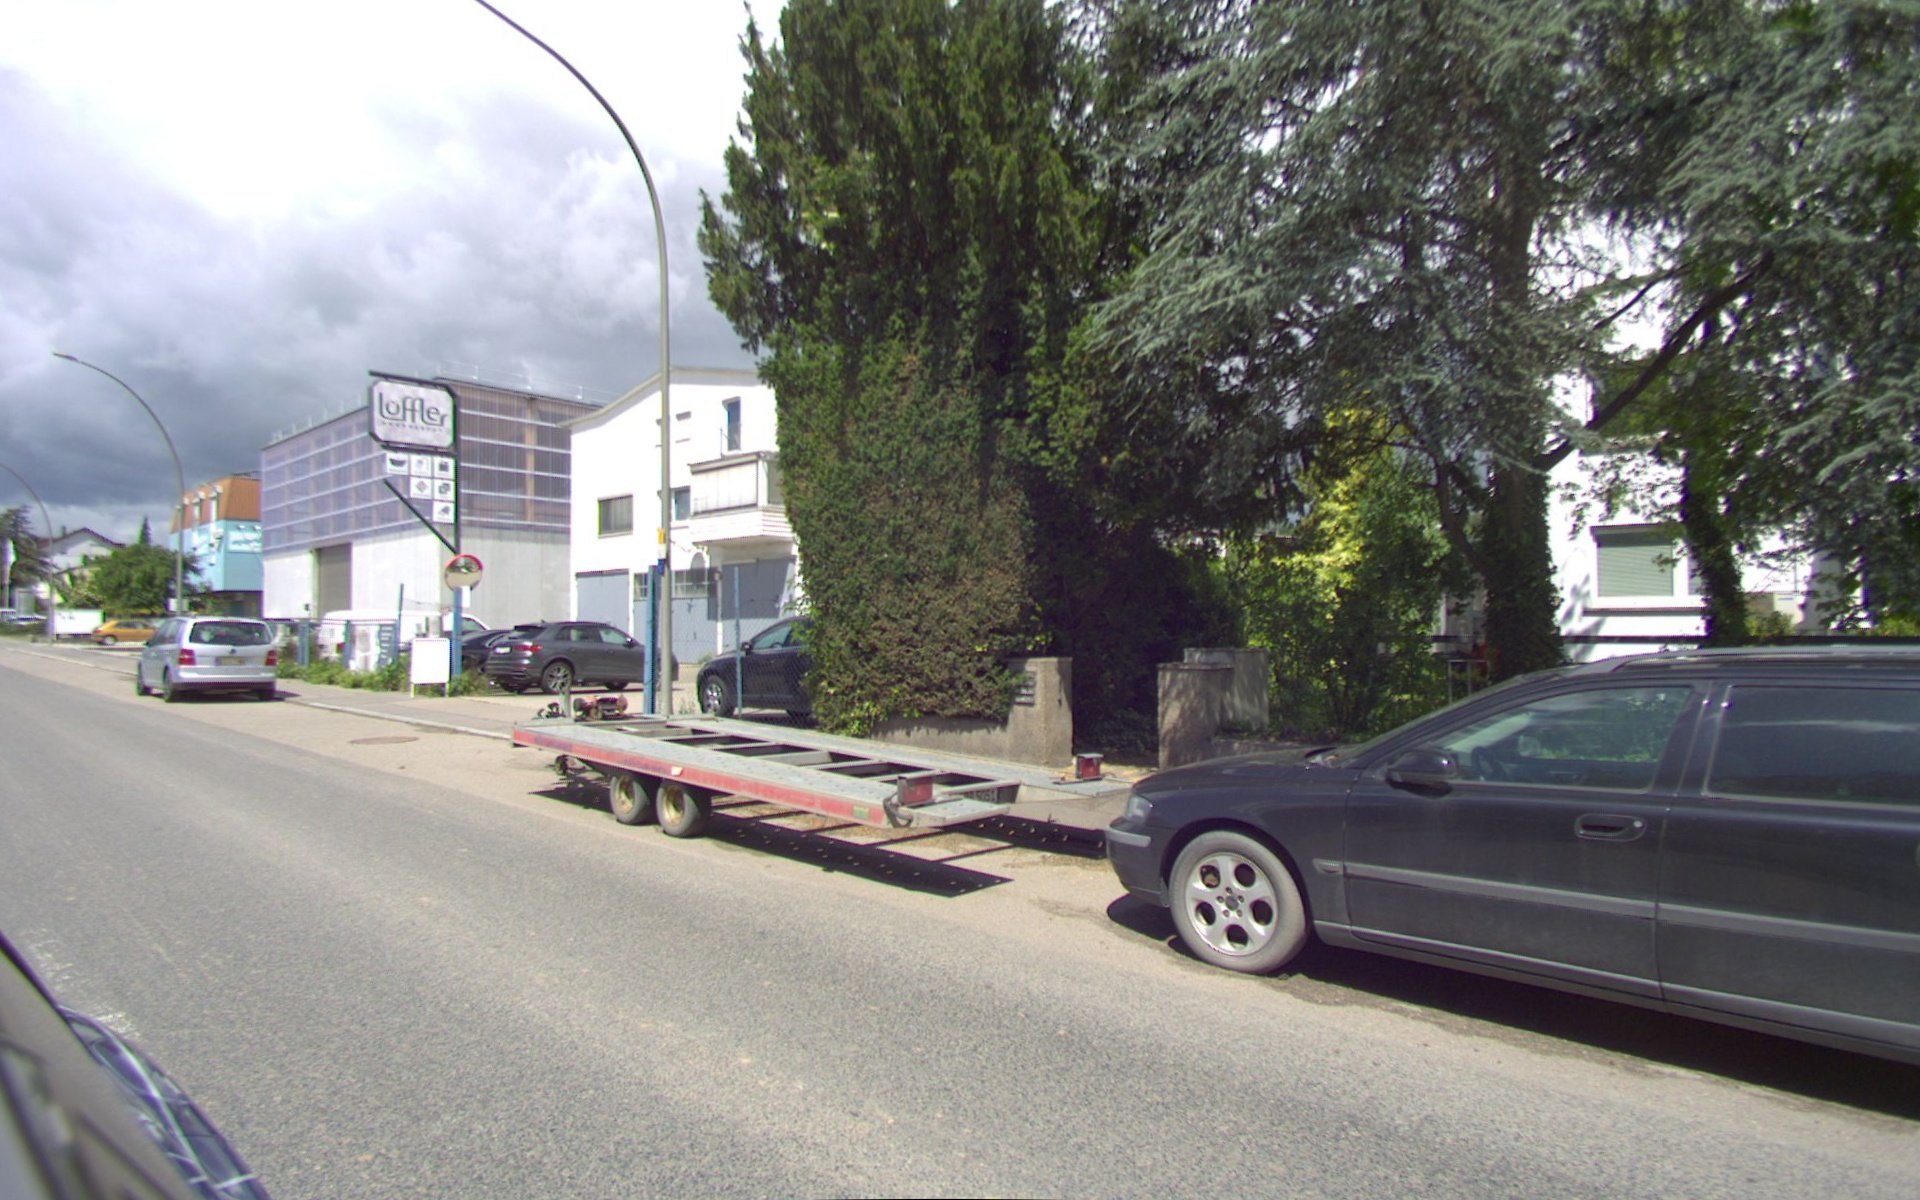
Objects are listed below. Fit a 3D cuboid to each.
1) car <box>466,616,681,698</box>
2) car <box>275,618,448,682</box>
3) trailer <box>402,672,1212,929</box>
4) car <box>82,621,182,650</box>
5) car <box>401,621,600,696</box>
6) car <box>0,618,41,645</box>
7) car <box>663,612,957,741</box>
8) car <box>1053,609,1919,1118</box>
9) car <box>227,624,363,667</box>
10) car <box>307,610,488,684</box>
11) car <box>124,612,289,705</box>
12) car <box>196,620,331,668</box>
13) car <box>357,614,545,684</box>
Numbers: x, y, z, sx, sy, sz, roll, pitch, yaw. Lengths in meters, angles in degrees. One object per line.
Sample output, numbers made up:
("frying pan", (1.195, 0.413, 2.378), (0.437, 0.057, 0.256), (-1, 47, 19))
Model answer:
("car", (-8.636, 1.233, 22.915), (1.998, 1.683, 4.117), (-1, -2, 38))
("car", (-17.583, 1.452, 29.869), (1.999, 1.762, 3.945), (-1, -3, 41))
("trailer", (-1.883, 1.208, 8.244), (7.456, 0.998, 2.294), (-1, -4, 42))
("car", (-45.745, 1.972, 55.955), (1.674, 1.505, 3.994), (-1, -3, 40))
("car", (-11.236, 1.392, 24.951), (2.101, 1.683, 3.948), (-1, -3, 38))
("car", (-74.104, 2.450, 78.558), (3.940, 2.029, 2.002), (3, -3, -44))
("car", (-2.368, 1.069, 15.163), (4.630, 1.647, 1.788), (-2, -4, 42))
("car", (2.921, 0.854, 4.158), (4.810, 1.464, 1.972), (-1, -6, 42))
("car", (-24.882, 1.726, 37.969), (1.775, 1.513, 3.905), (-3, -4, 39))
("car", (-15.637, 1.302, 28.253), (1.999, 1.891, 3.944), (-1, -3, 41))
("car", (-15.193, 1.139, 20.339), (4.126, 1.689, 1.785), (-1, -4, 42))
("car", (-27.118, 1.697, 39.504), (1.999, 1.750, 3.945), (0, -2, 41))
("car", (-13.360, 1.278, 26.740), (1.999, 1.683, 3.946), (-1, -3, 40))
